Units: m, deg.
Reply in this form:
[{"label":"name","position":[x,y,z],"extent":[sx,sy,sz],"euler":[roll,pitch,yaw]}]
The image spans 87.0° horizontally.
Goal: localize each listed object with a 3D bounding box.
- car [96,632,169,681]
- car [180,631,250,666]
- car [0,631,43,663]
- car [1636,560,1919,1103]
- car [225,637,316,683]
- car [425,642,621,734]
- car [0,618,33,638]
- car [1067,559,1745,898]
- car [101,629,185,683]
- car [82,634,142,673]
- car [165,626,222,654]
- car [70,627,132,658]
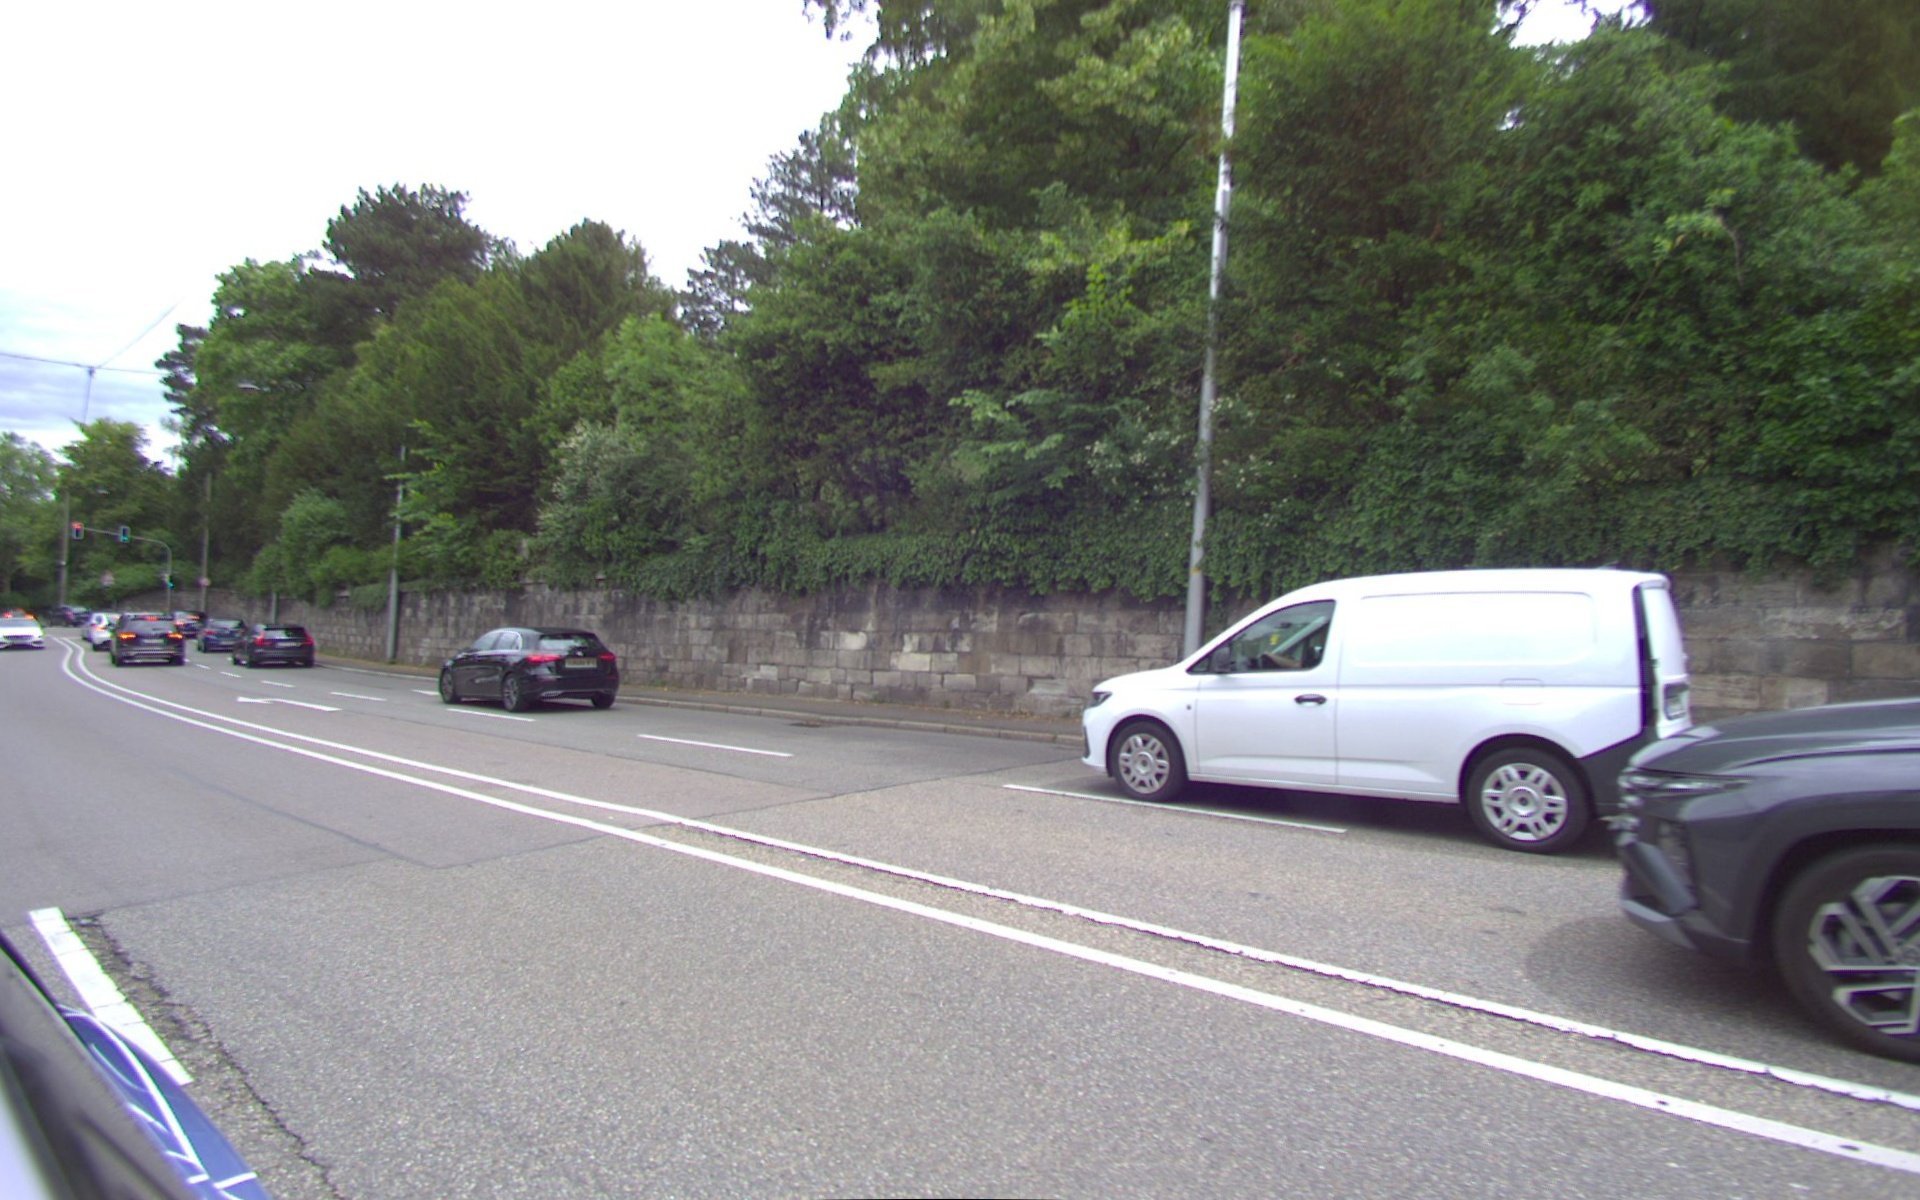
[{"label":"car","position":[-32.547,2.160,39.769],"extent":[1.936,1.763,4.884],"euler":[2,-2,-42]},{"label":"car","position":[-32.260,2.093,43.796],"extent":[4.002,1.447,1.821],"euler":[-2,-4,45]},{"label":"car","position":[-42.285,2.080,45.190],"extent":[1.775,1.401,3.533],"euler":[1,-2,-40]},{"label":"car","position":[4.628,0.663,2.857],"extent":[4.356,1.645,1.831],"euler":[-2,-2,39]},{"label":"car","position":[-23.174,1.968,33.953],"extent":[1.821,1.420,4.459],"euler":[3,-3,-43]},{"label":"car","position":[-7.817,1.469,17.921],"extent":[4.252,1.413,1.545],"euler":[-2,-3,42]},{"label":"car","position":[-70.766,2.081,75.664],"extent":[3.955,1.445,1.614],"euler":[-1,-1,40]},{"label":"car","position":[3.157,0.783,7.761],"extent":[4.395,1.862,1.873],"euler":[-2,-3,42]},{"label":"car","position":[-27.594,1.834,34.132],"extent":[1.826,1.664,4.629],"euler":[3,-3,-43]},{"label":"car","position":[-37.832,2.343,45.116],"extent":[1.815,1.566,4.794],"euler":[1,-1,-42]},{"label":"car","position":[-42.059,2.180,55.510],"extent":[1.978,1.420,4.760],"euler":[1,-2,-43]},{"label":"car","position":[-44.720,2.186,52.662],"extent":[4.879,1.481,1.971],"euler":[-1,-2,44]}]
